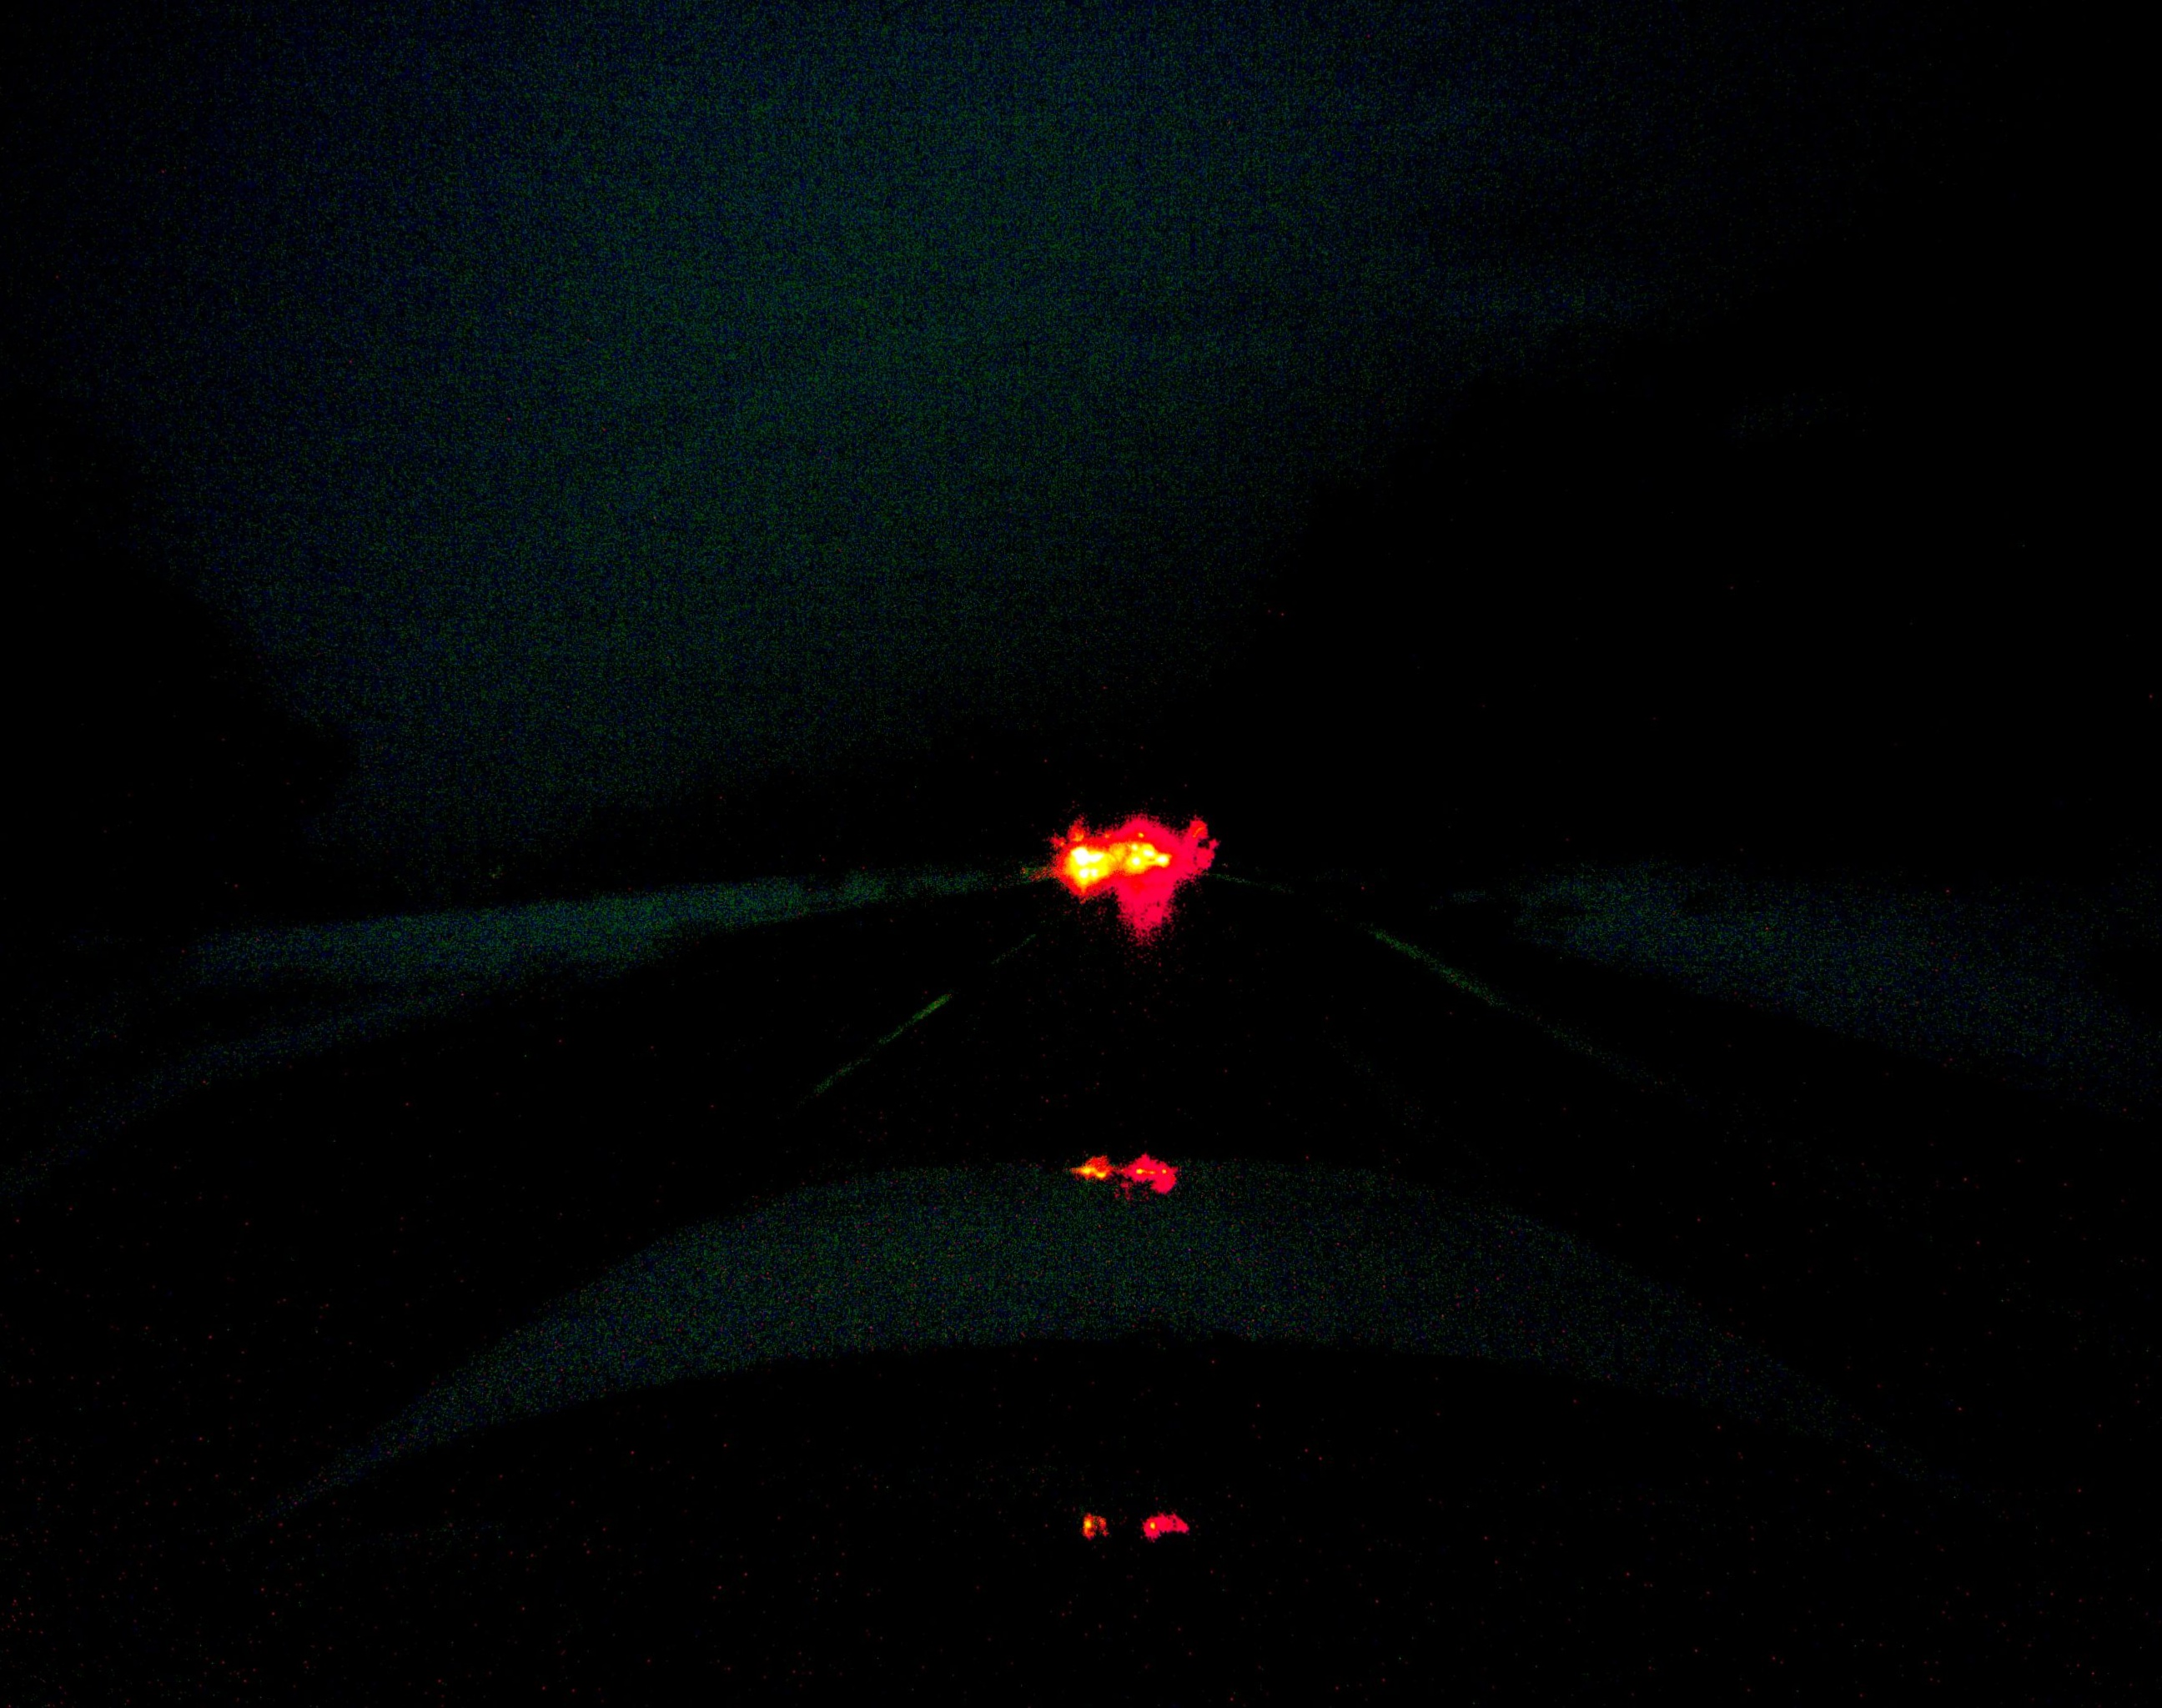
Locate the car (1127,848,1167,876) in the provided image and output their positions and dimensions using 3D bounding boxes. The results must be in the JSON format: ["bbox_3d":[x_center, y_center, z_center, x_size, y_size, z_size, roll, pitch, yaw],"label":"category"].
[{"bbox_3d":[3.452,0.398,43.071,1.914,1.276,4.003,-2,1,3],"label":"car"}]

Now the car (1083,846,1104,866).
[{"bbox_3d":[1.168,0.183,78.282,1.747,1.693,4.424,-3,0,-1],"label":"car"}]

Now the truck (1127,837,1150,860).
[{"bbox_3d":[7.318,-0.664,103.669,2.072,2.745,5.311,-2,0,-4],"label":"truck"}]
